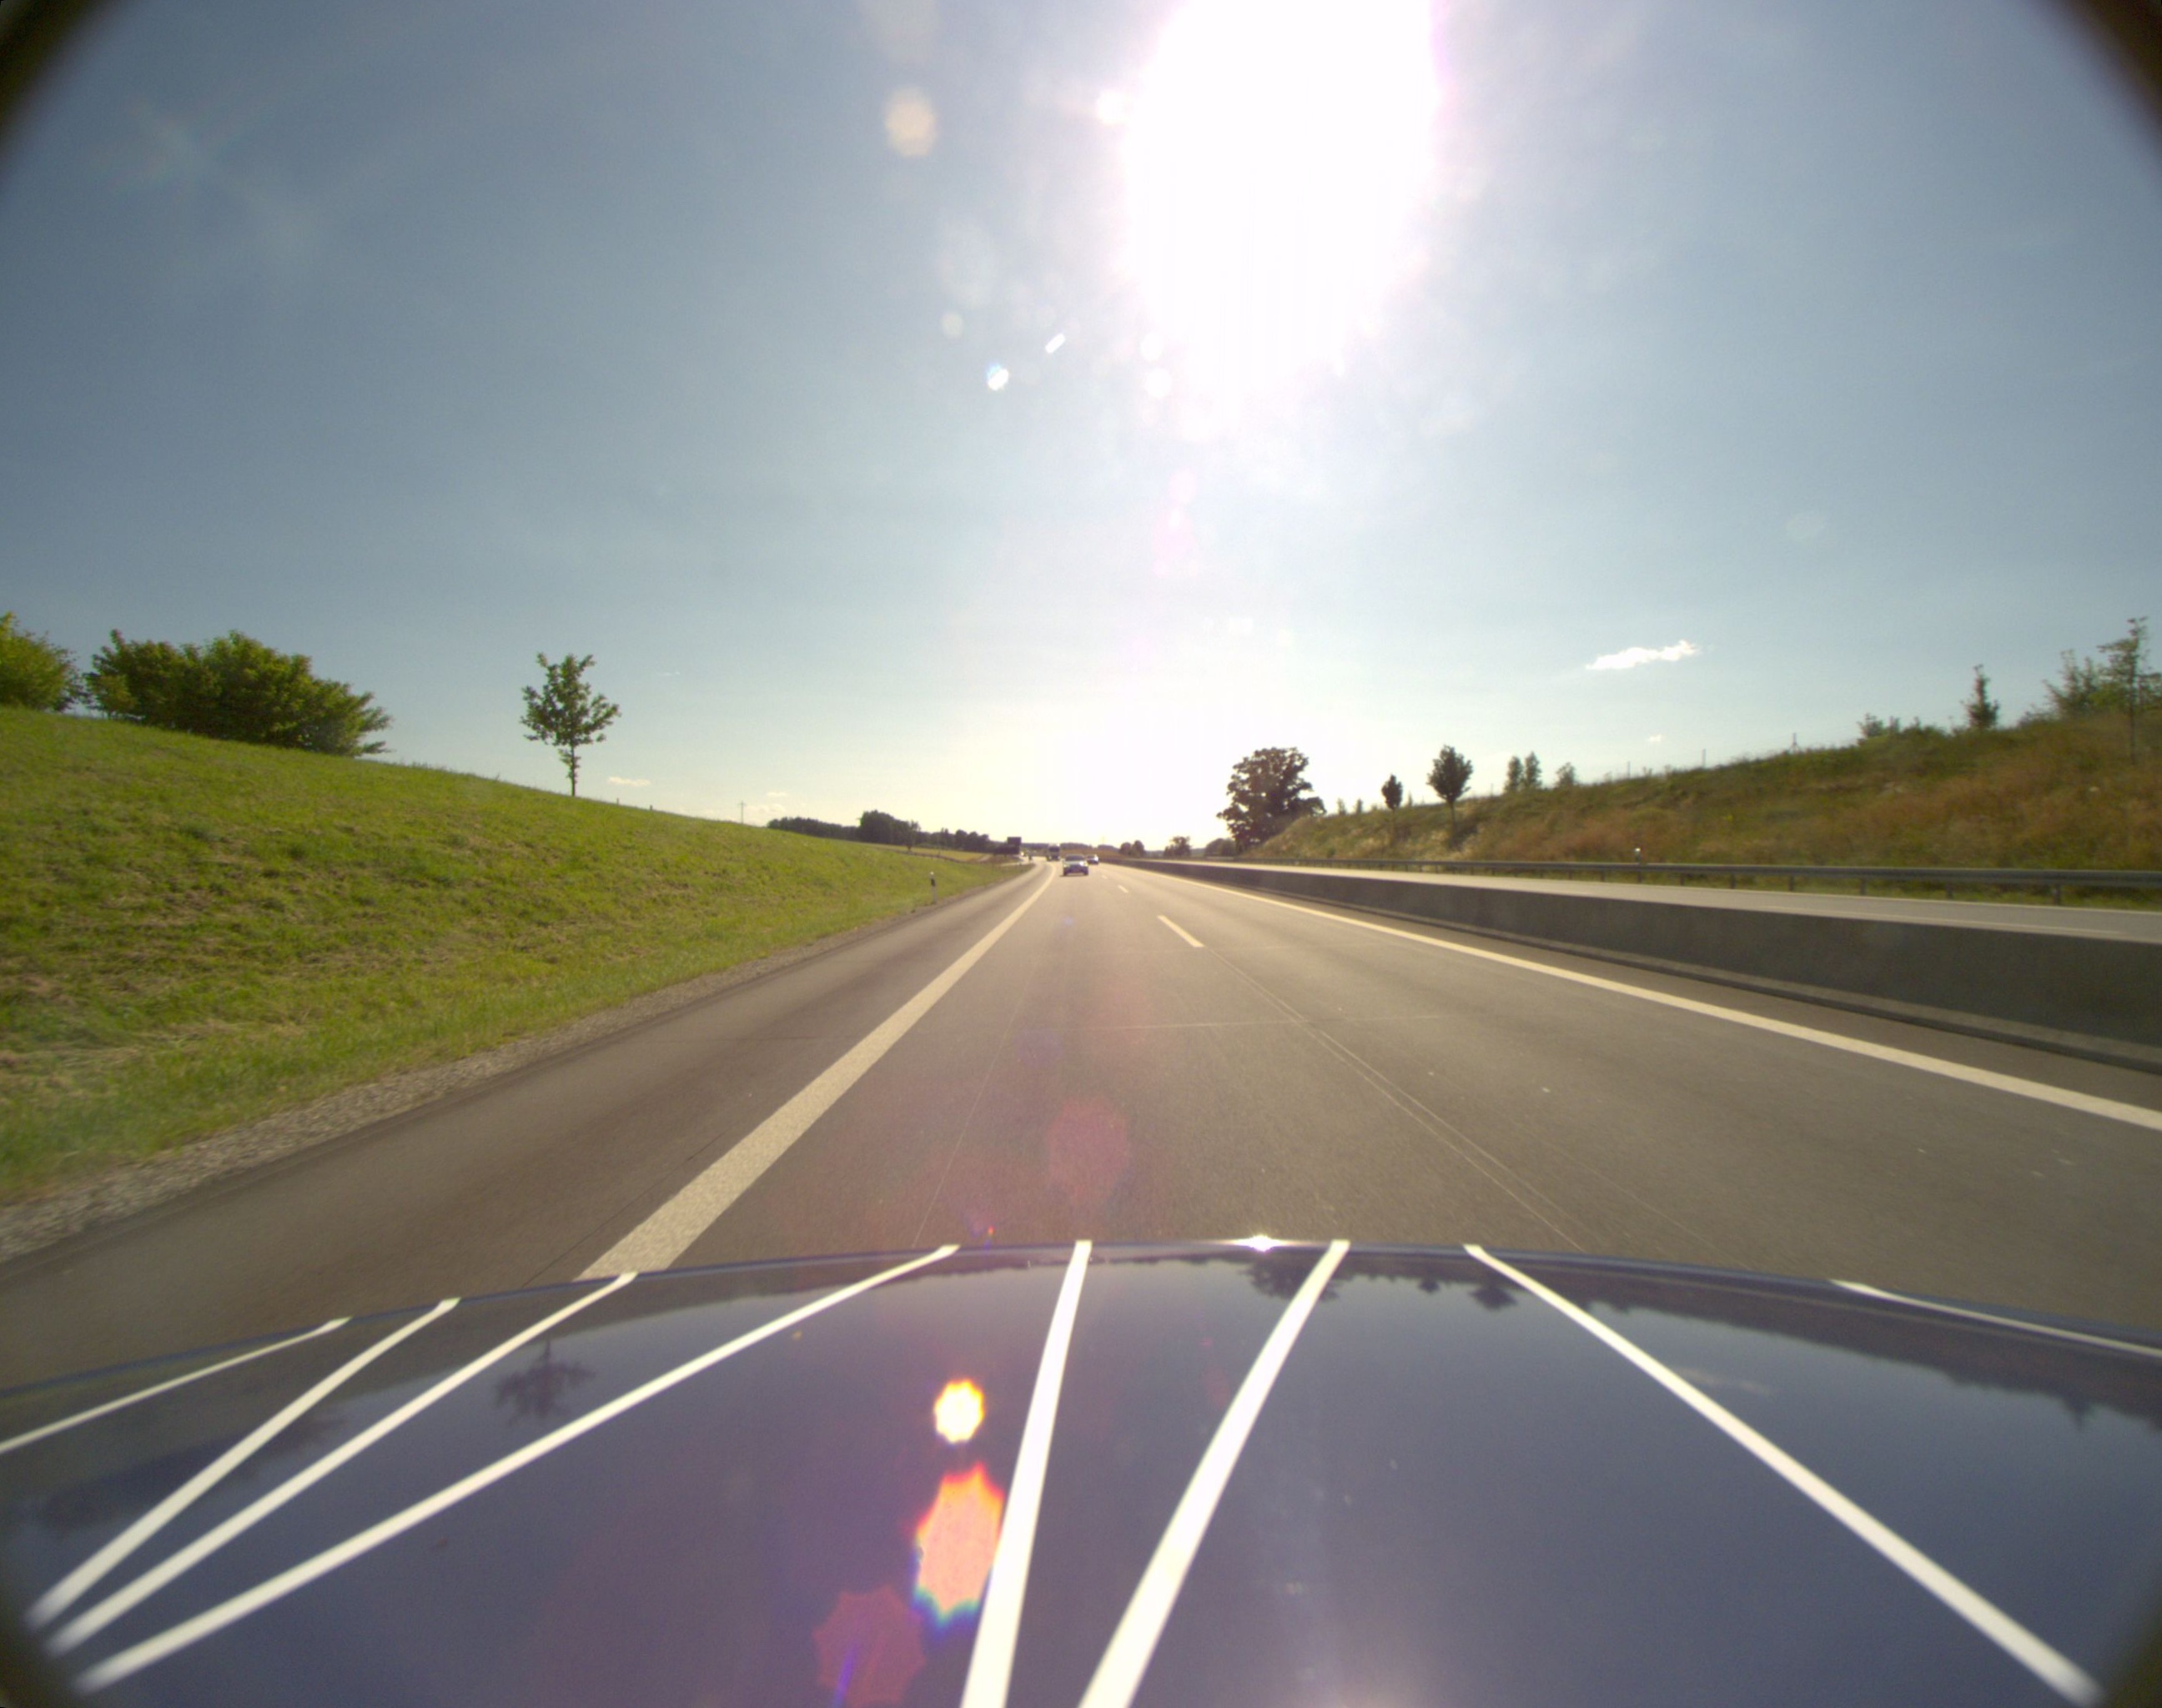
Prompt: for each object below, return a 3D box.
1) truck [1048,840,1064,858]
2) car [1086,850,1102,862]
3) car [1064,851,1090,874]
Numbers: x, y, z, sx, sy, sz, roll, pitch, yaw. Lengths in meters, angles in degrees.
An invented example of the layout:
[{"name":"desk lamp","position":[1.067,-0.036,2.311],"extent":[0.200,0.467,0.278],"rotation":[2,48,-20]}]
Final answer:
[{"name":"truck","position":[-5.541,-1.145,169.209],"extent":[3.092,3.991,6.185],"rotation":[-1,0,-6]},{"name":"car","position":[1.771,0.278,104.191],"extent":[1.900,1.560,3.999],"rotation":[-1,0,-2]},{"name":"car","position":[-0.328,0.606,56.523],"extent":[1.892,1.565,3.791],"rotation":[-2,1,-1]}]
